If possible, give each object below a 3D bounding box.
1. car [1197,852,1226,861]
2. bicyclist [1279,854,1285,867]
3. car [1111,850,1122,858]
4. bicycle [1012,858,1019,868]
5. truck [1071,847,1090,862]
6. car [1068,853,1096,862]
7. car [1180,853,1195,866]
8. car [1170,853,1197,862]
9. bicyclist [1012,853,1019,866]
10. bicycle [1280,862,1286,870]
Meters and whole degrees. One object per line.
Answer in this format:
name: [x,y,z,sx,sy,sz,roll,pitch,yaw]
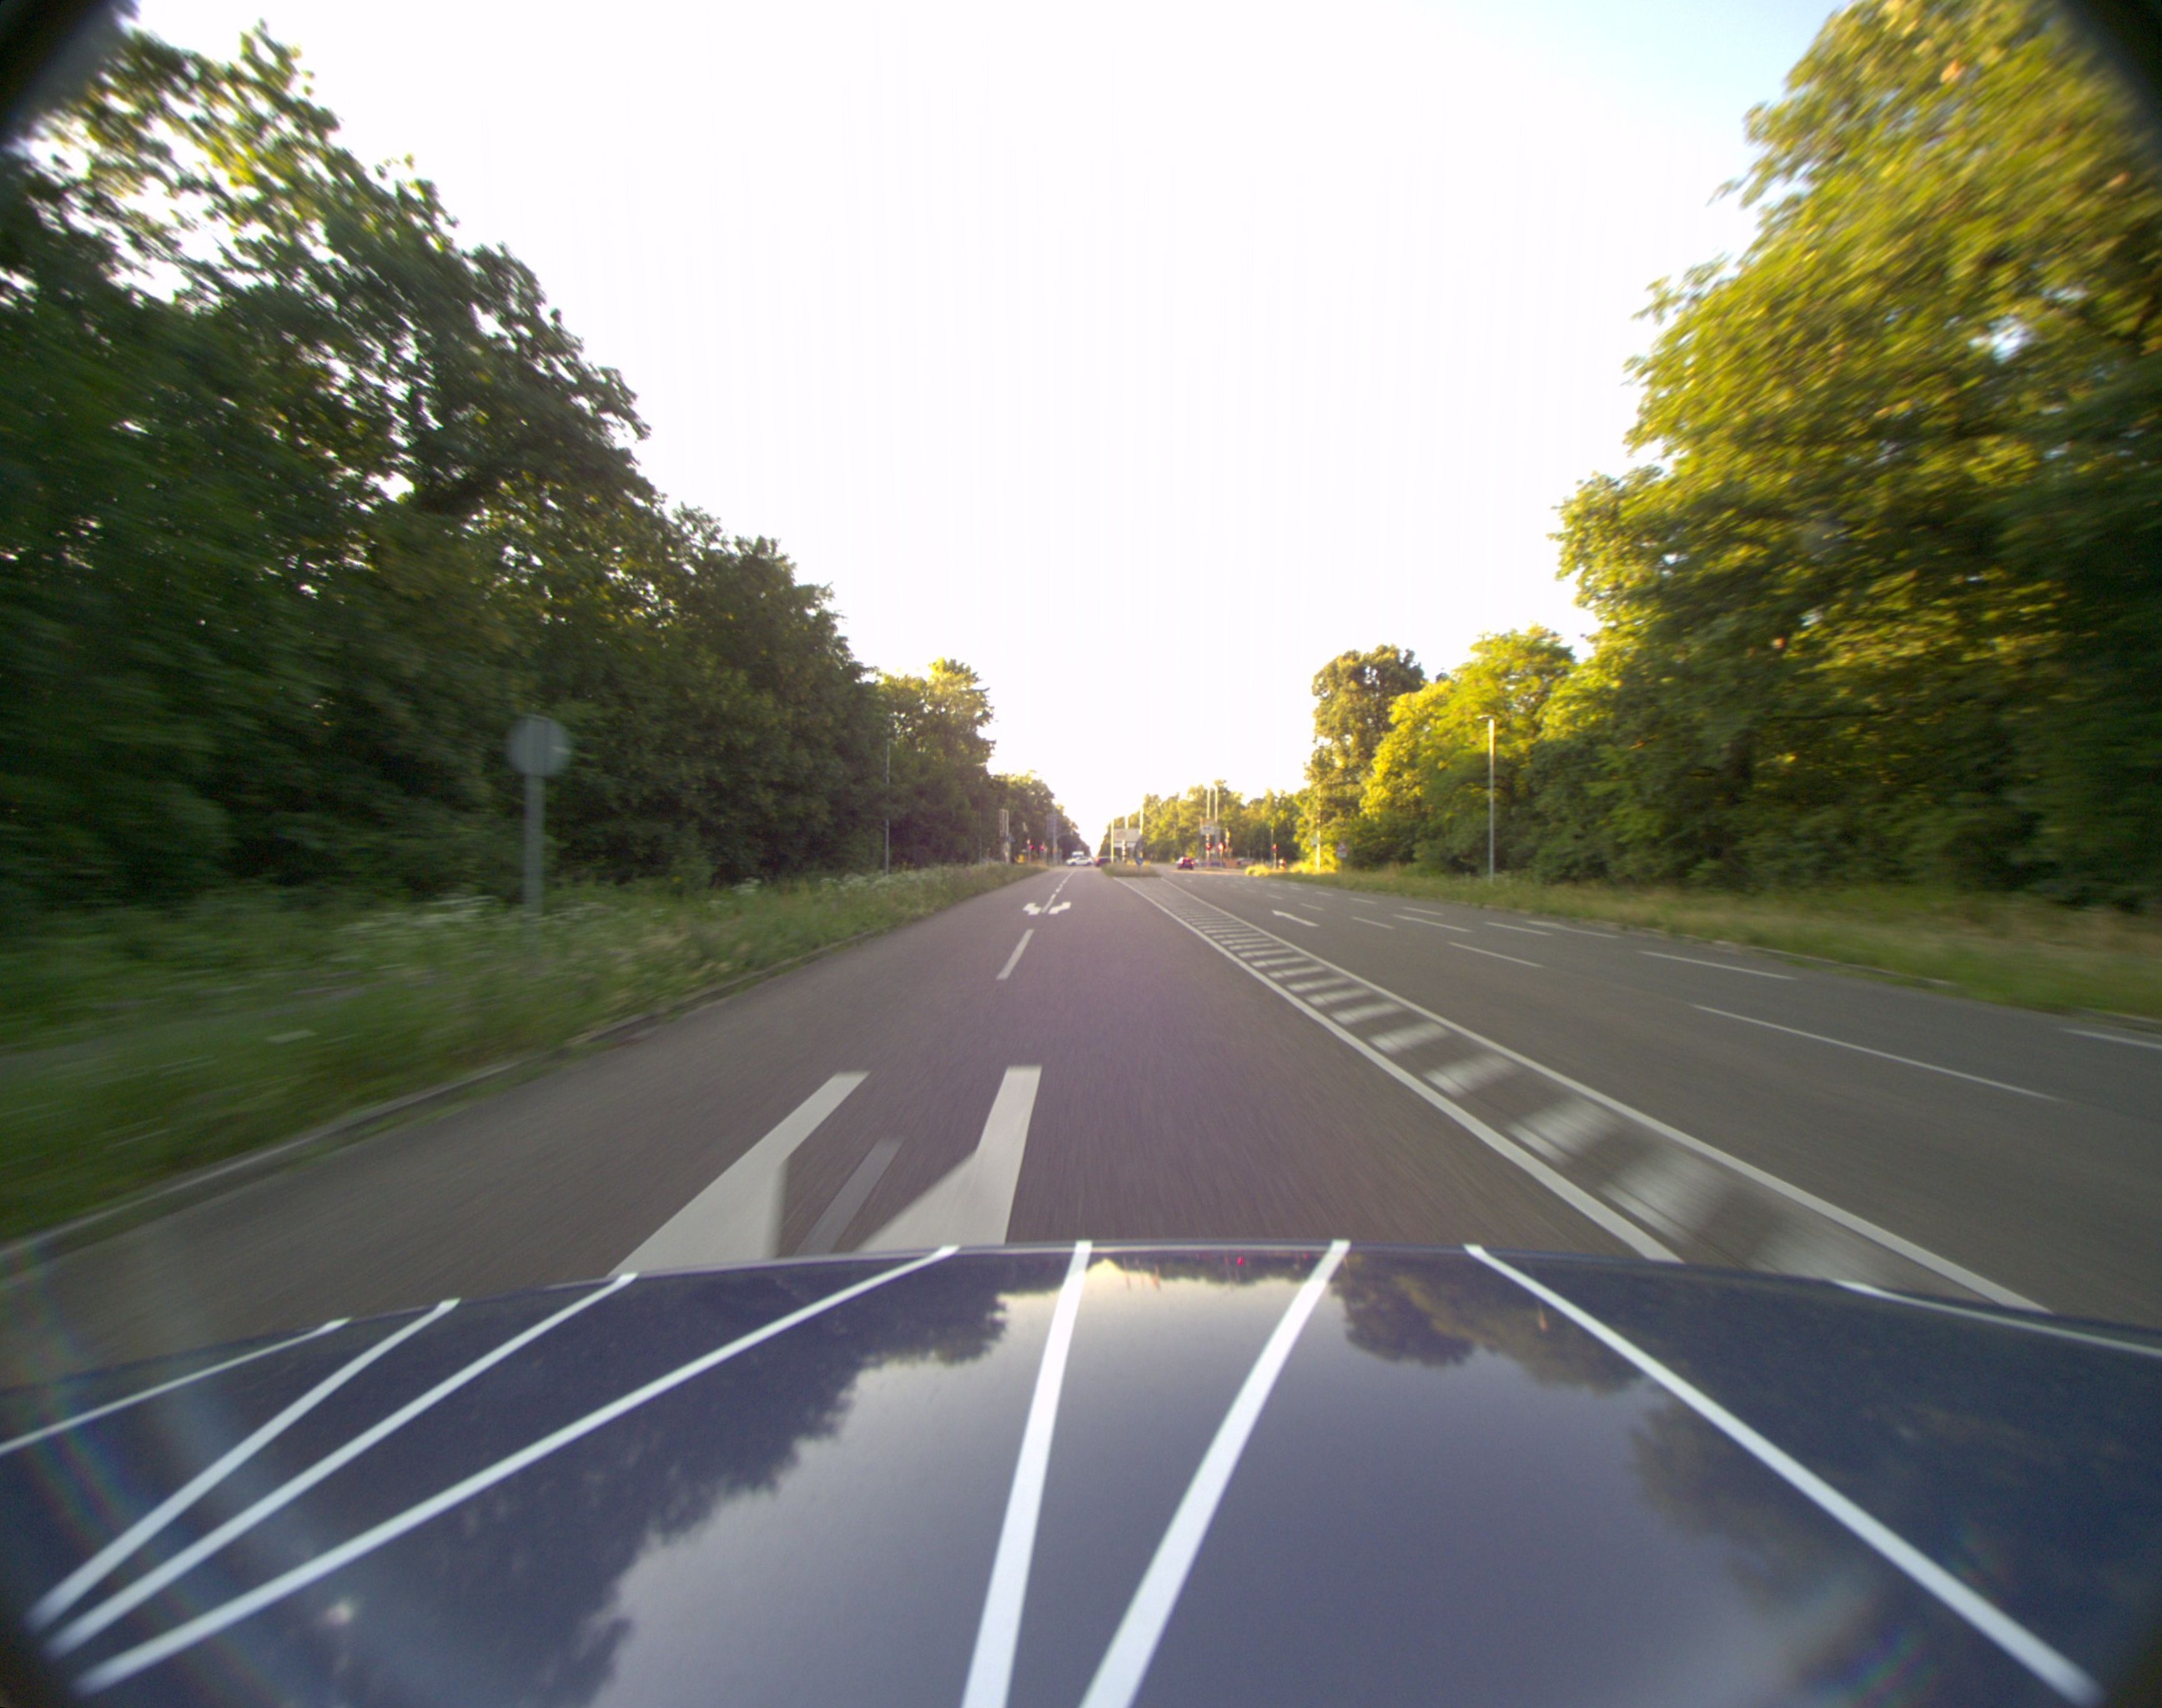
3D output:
car: [20.746,0.368,121.235,4.236,1.447,1.719,0,0,-15]
bicyclist: [22.029,0.704,83.214,0.586,1.421,0.823,1,1,13]
car: [6.361,-0.006,136.443,2.001,1.511,4.000,0,0,1]
bicycle: [-7.087,0.947,82.204,0.612,0.990,1.691,0,1,2]
truck: [-0.025,0.121,133.903,2.602,2.542,6.026,-2,0,6]
car: [0.182,0.529,121.449,4.236,1.447,1.719,0,0,-15]
car: [13.375,0.627,95.307,1.822,1.525,4.458,2,0,9]
car: [17.149,0.565,127.384,4.236,1.447,1.719,0,0,-15]
bicyclist: [-7.104,0.568,82.292,0.604,1.447,0.780,0,1,2]
bicycle: [22.035,1.286,82.999,0.586,0.800,1.961,1,0,14]
